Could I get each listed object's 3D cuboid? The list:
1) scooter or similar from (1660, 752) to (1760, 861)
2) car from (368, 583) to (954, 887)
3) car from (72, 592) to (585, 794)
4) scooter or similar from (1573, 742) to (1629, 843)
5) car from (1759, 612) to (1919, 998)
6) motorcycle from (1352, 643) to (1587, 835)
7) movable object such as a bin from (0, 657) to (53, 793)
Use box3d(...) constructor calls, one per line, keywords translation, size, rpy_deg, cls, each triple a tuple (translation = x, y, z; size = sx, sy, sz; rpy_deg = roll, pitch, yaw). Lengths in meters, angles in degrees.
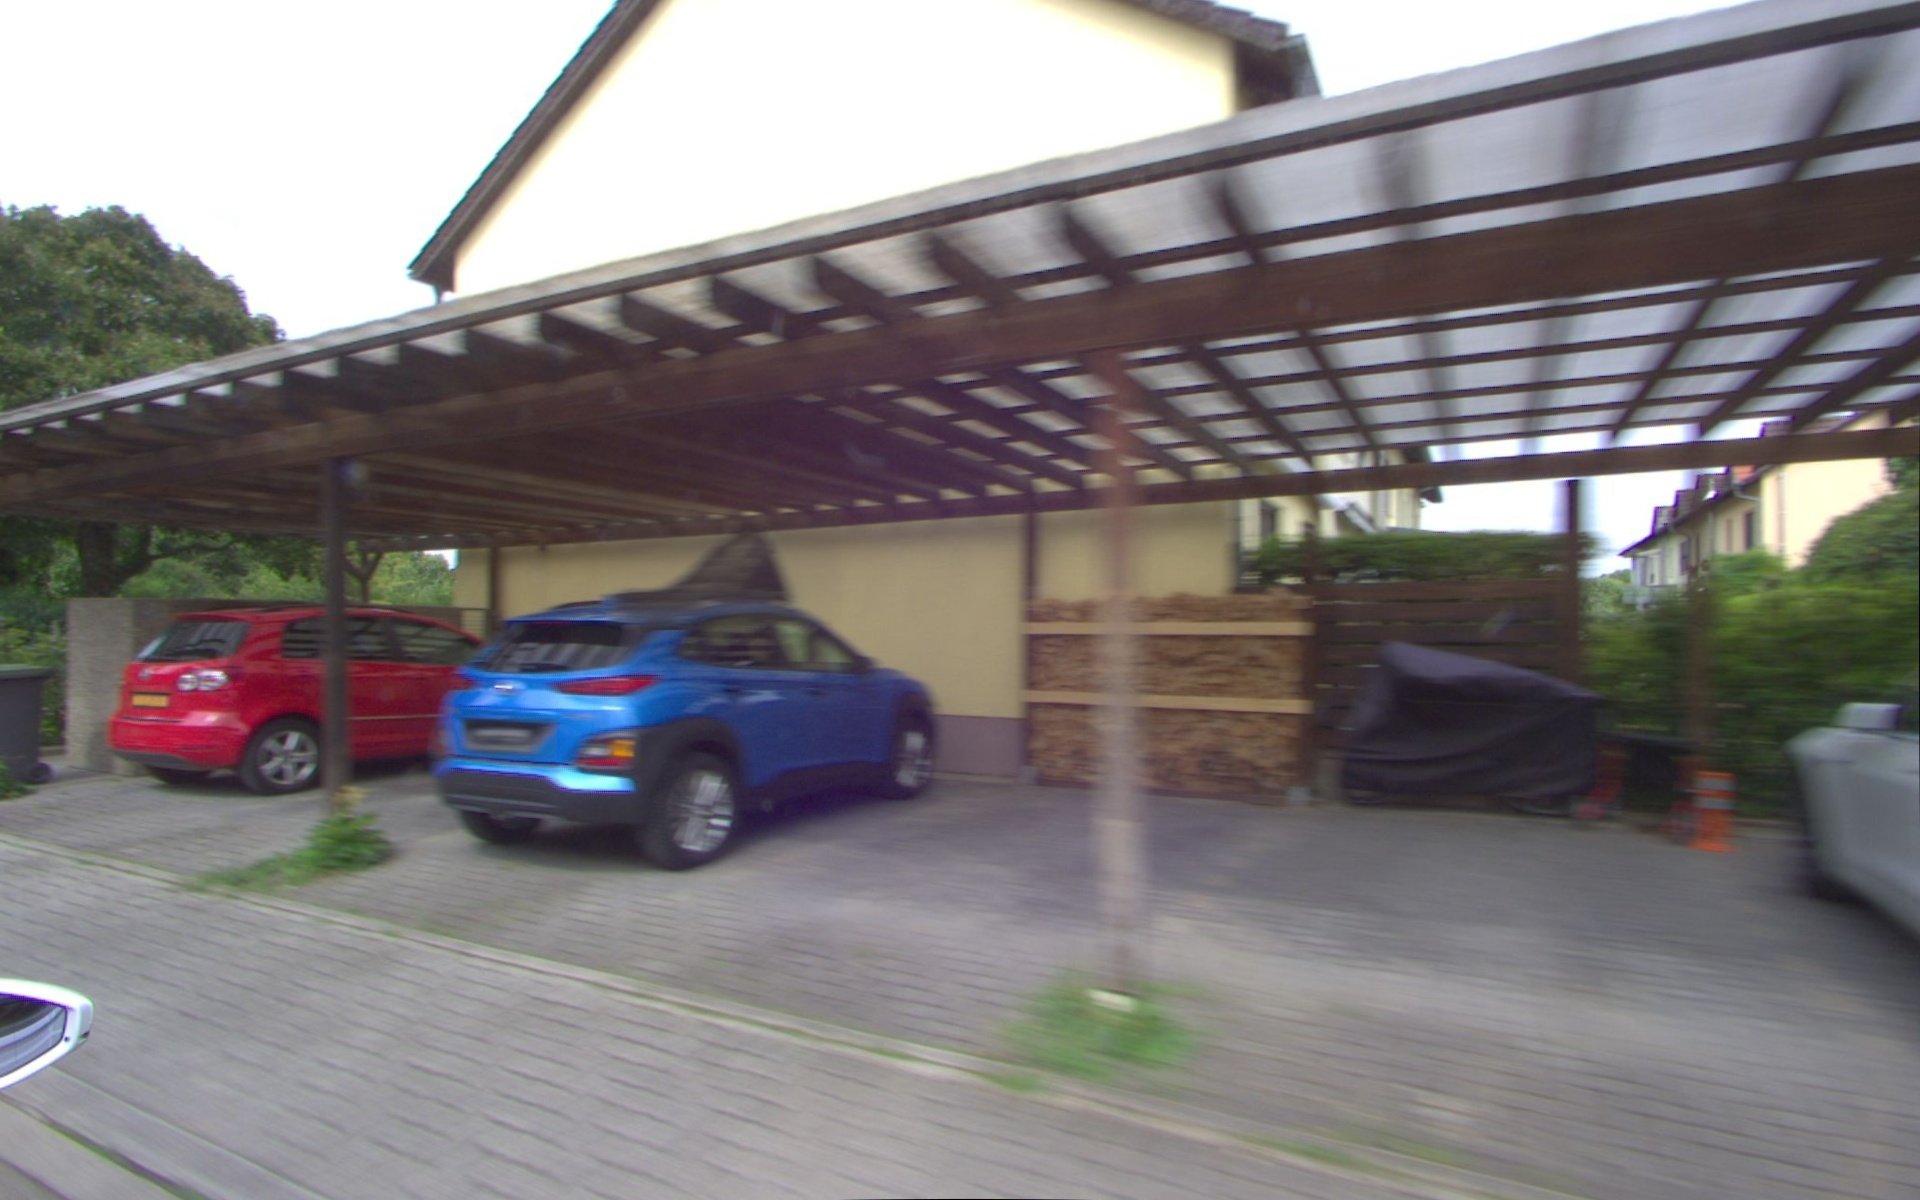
box3d(translation=(4.669, 1.266, 6.264), size=(0.335, 0.523, 0.861), rpy_deg=(0, -2, 26), cls="scooter or similar")
box3d(translation=(-1.775, 0.731, 7.328), size=(1.919, 1.542, 4.047), rpy_deg=(0, -1, 25), cls="car")
box3d(translation=(-5.891, 0.763, 9.907), size=(1.809, 1.560, 3.957), rpy_deg=(0, -1, 25), cls="car")
box3d(translation=(4.216, 1.252, 6.604), size=(0.233, 0.558, 0.641), rpy_deg=(0, -2, 26), cls="scooter or similar")
box3d(translation=(4.471, 0.761, 3.259), size=(1.995, 1.451, 4.449), rpy_deg=(0, -1, 26), cls="car")
box3d(translation=(3.573, 0.946, 7.124), size=(1.454, 1.247, 0.353), rpy_deg=(0, -1, 23), cls="motorcycle")
box3d(translation=(-8.116, 1.032, 8.283), size=(0.700, 1.086, 0.699), rpy_deg=(0, 0, 25), cls="movable object such as a bin")
